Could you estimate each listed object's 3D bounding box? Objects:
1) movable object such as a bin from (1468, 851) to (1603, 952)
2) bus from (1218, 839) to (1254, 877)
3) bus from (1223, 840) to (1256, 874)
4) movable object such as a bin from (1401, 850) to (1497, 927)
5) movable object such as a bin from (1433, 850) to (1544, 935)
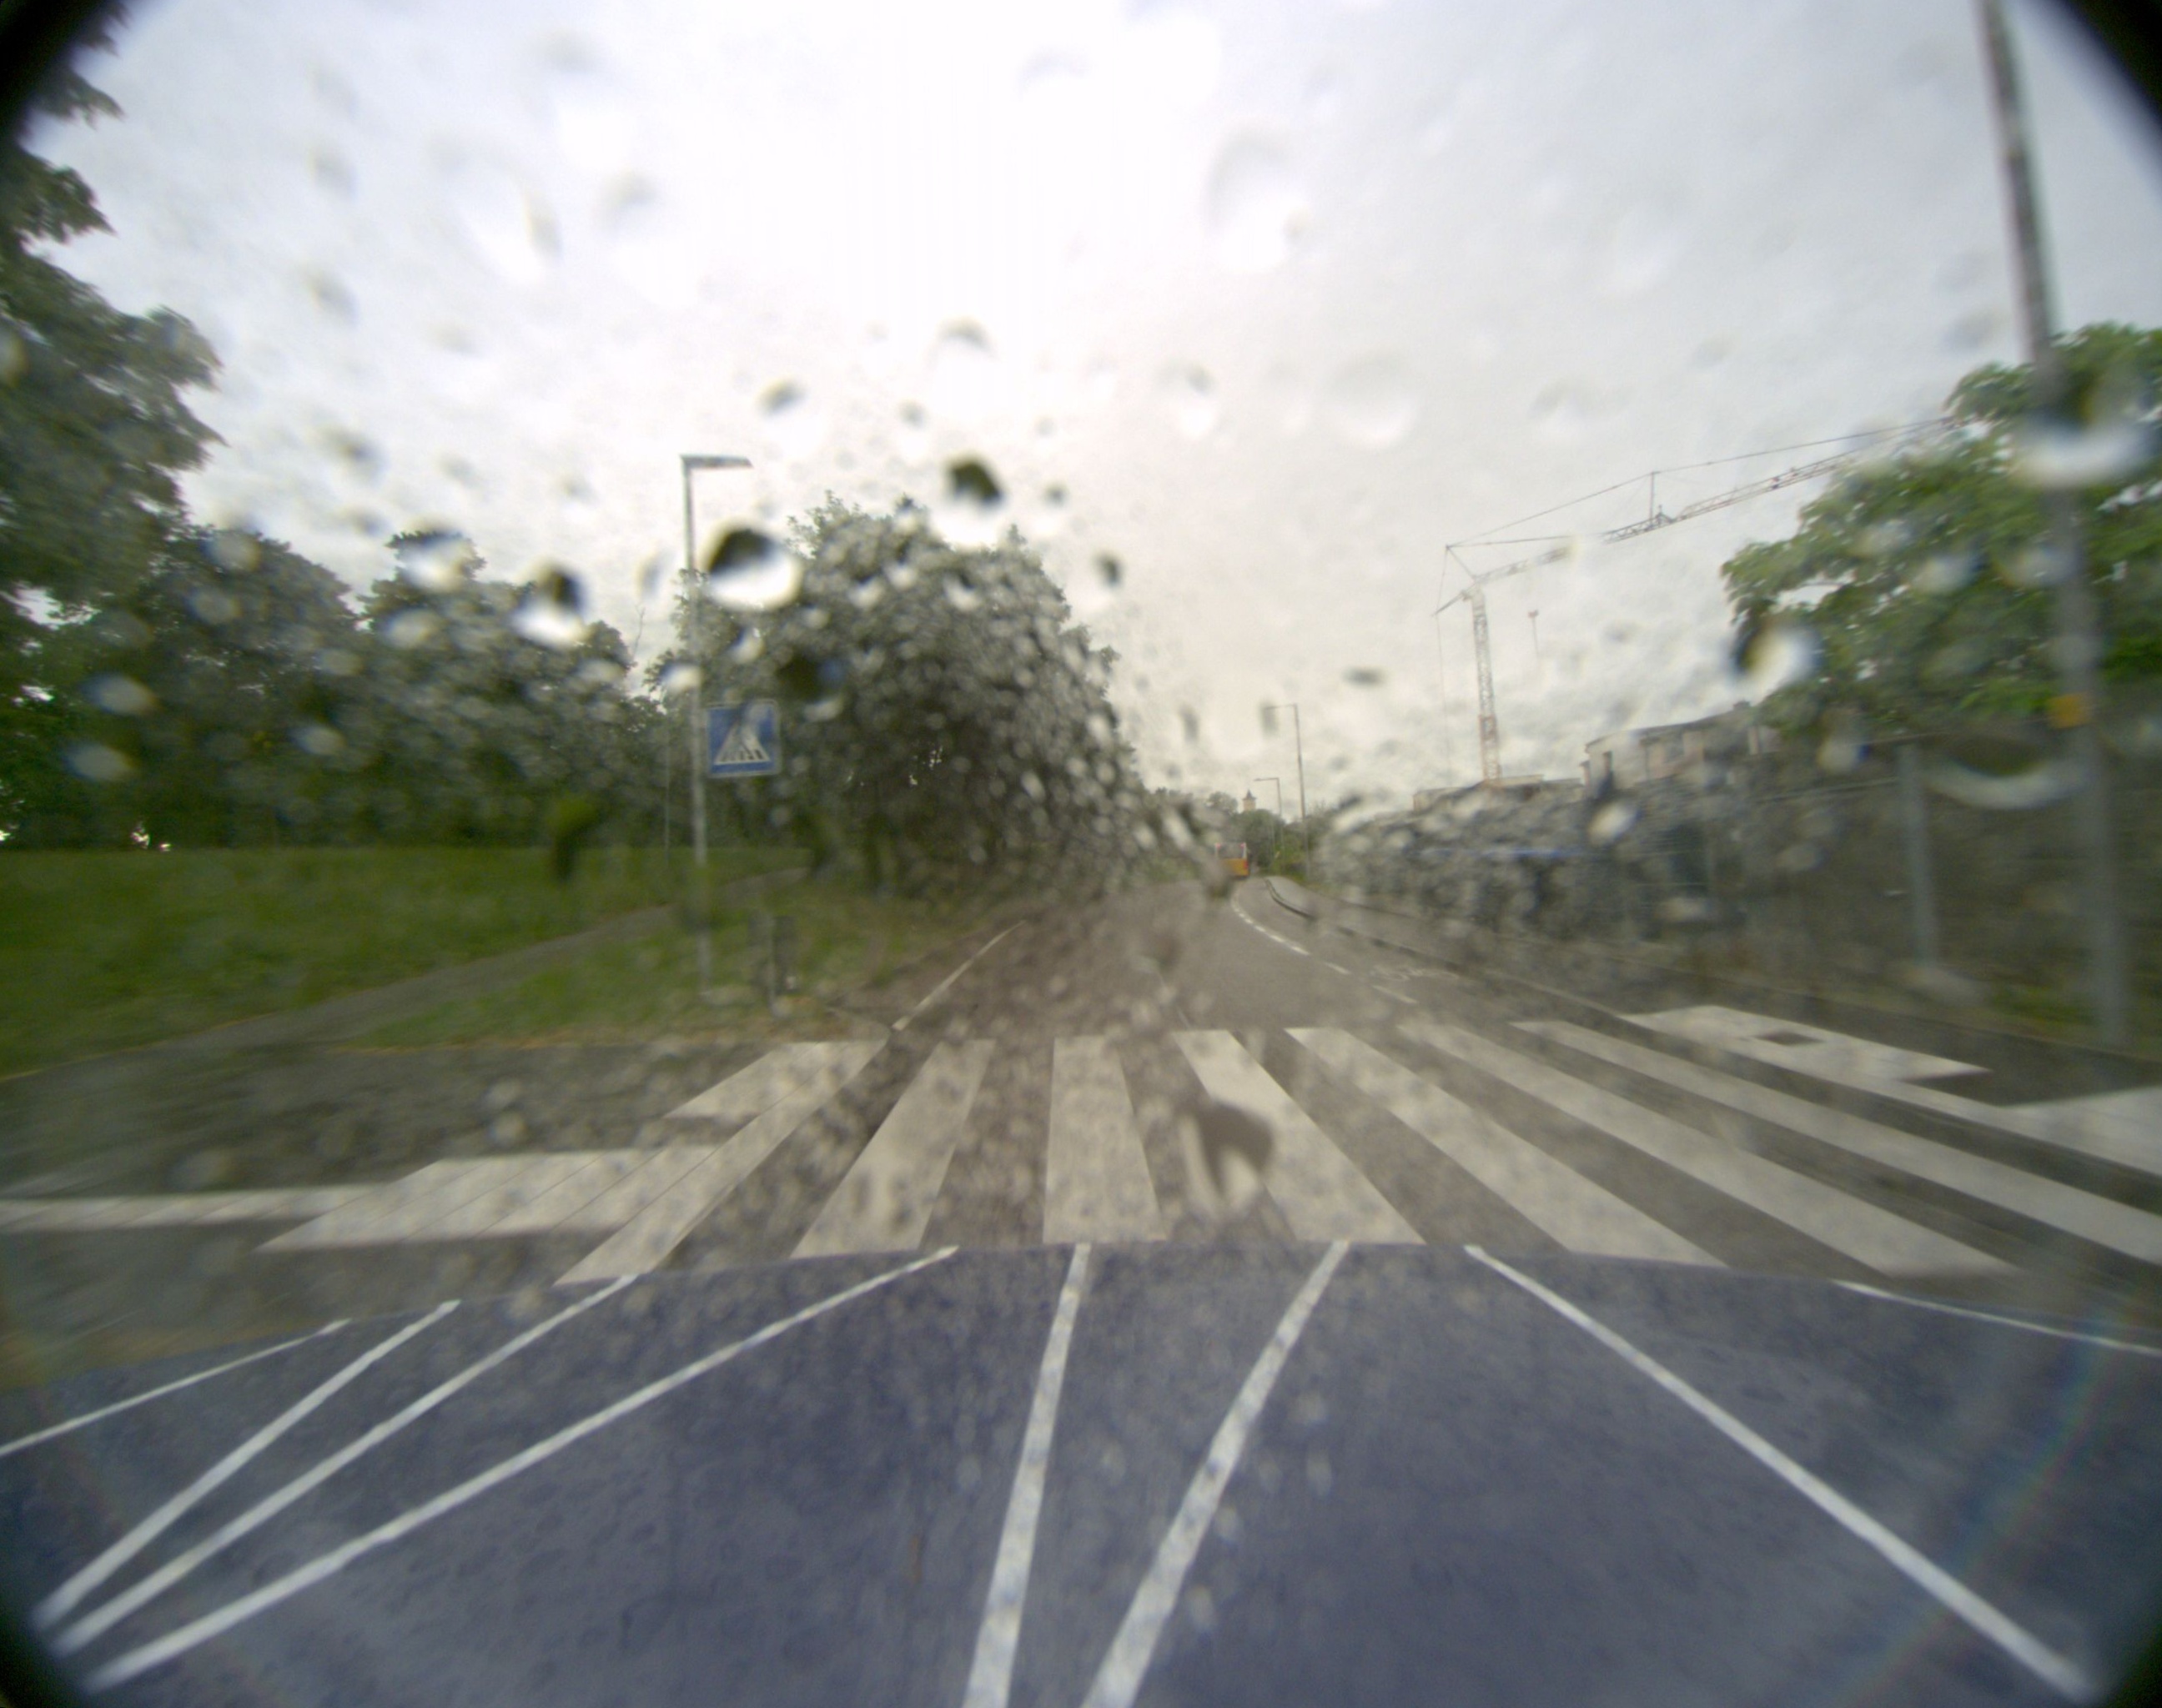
[{"bbox_3d":[6.762,0.674,11.412,1.134,1.314,1.363,-6,-1,3],"label":"movable object such as a bin"},{"bbox_3d":[13.418,0.326,65.383,2.644,3.014,7.674,-2,0,14],"label":"bus"},{"bbox_3d":[15.643,0.237,74.408,2.644,3.049,10.866,-2,0,14],"label":"bus"},{"bbox_3d":[7.155,0.651,14.871,1.134,1.331,1.399,-5,-1,4],"label":"movable object such as a bin"},{"bbox_3d":[7.074,0.648,13.295,1.134,1.294,1.399,-6,-1,4],"label":"movable object such as a bin"}]
